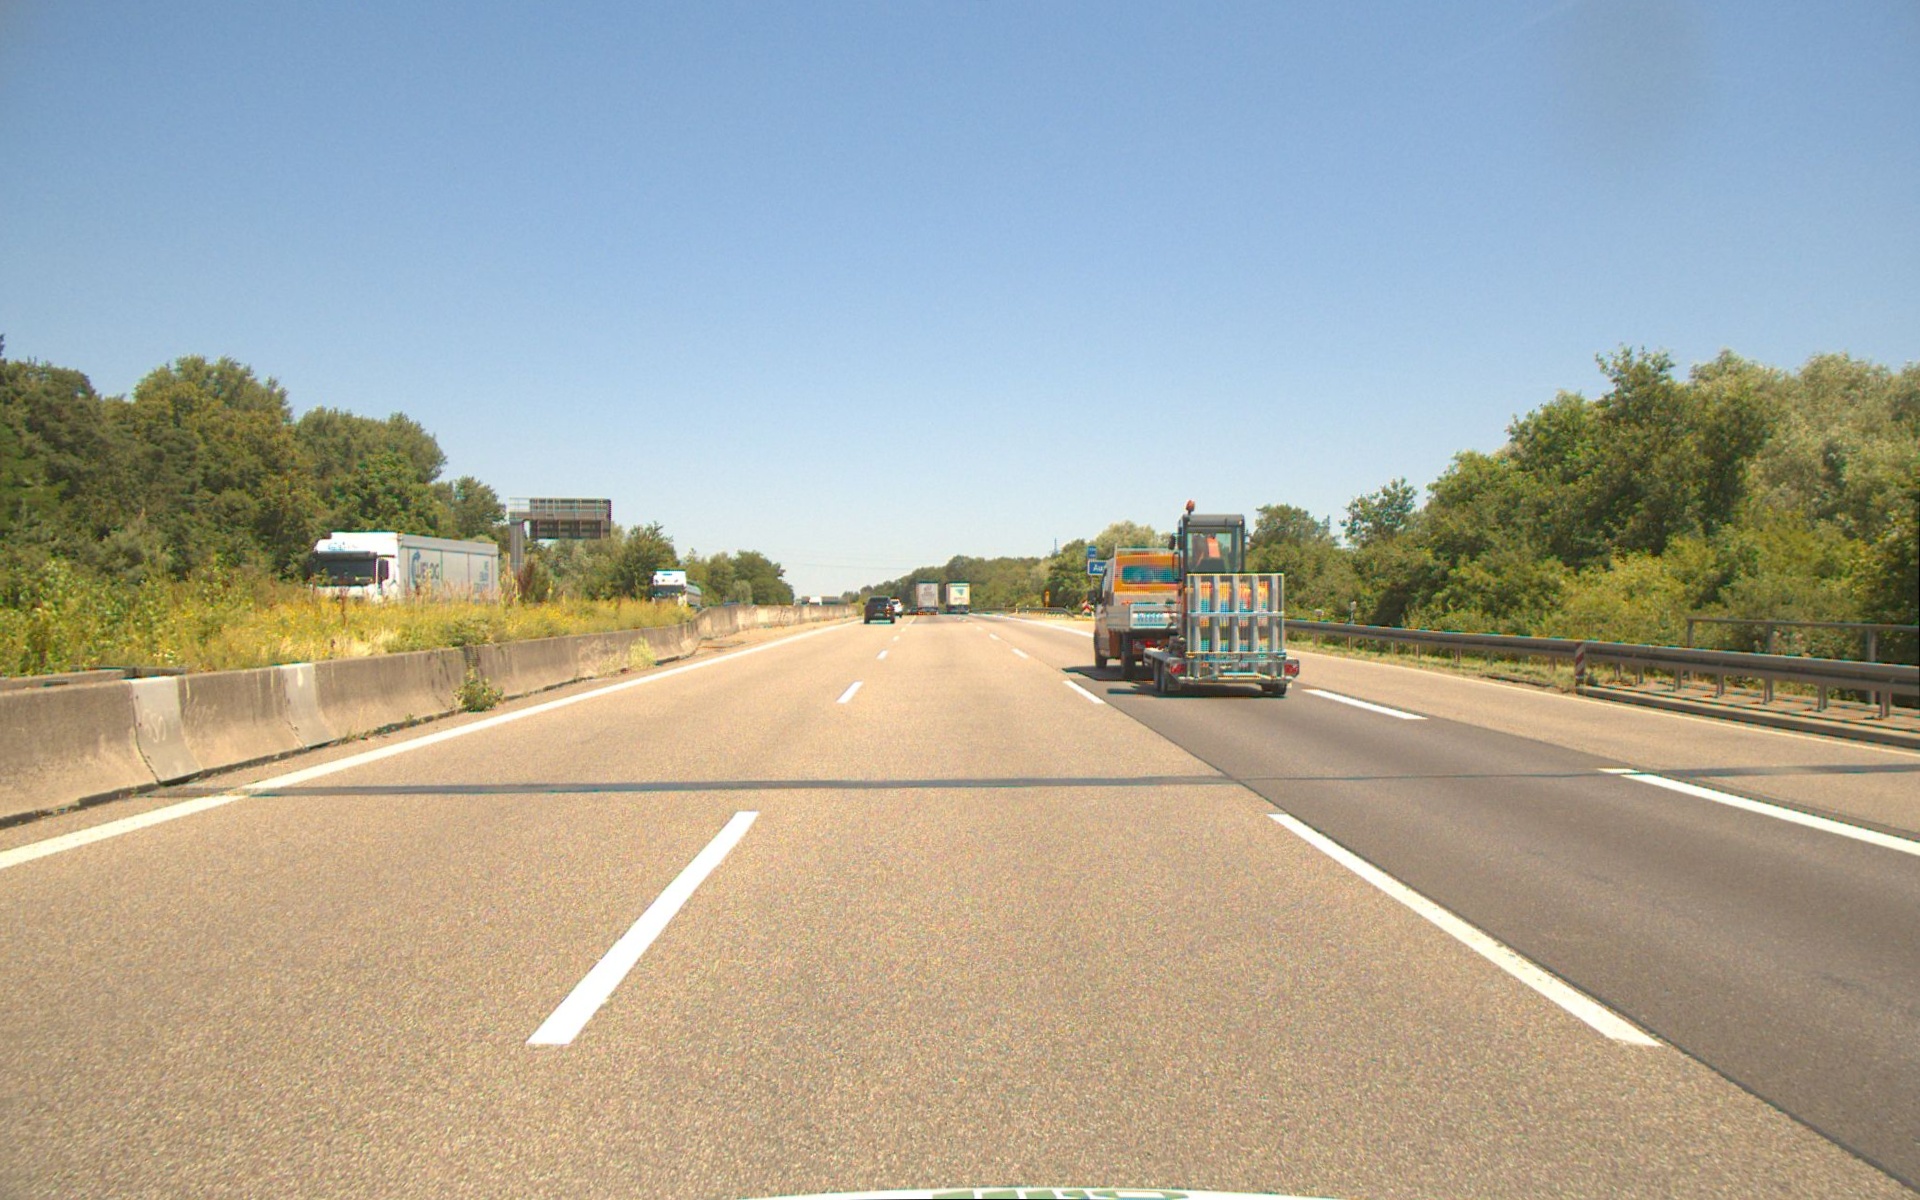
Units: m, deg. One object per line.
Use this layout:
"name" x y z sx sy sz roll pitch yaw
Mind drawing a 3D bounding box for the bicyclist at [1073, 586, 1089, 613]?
"bicyclist" 7.715 -0.032 105.389 0.940 1.623 0.808 2 0 7

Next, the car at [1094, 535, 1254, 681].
"car" 3.909 0.125 31.526 1.953 2.447 7.224 -1 0 -1

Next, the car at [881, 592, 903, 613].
"car" -6.319 0.242 153.672 1.953 1.907 3.999 0 0 -1

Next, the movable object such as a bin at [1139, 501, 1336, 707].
"movable object such as a bin" 4.144 0.048 25.494 2.130 2.865 4.760 -1 0 -1

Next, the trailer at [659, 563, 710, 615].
"trailer" -23.149 -0.913 139.577 2.751 4.118 10.426 2 0 -2

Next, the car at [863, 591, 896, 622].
"car" -5.147 0.400 106.230 1.953 1.907 3.999 -1 0 -1

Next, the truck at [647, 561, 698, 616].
"truck" -22.832 -0.892 131.723 2.751 4.118 7.727 2 0 -2

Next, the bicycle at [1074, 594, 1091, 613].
"bicycle" 7.826 0.211 105.461 0.940 1.177 2.609 2 0 7

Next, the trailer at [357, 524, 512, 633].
"trailer" -21.820 -0.863 69.515 2.924 4.147 11.772 0 0 -1

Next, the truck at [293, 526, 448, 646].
"truck" -21.672 -0.523 61.334 2.924 4.147 8.191 0 0 -1

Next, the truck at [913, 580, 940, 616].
"truck" -4.191 -0.302 204.359 3.164 4.275 8.462 1 0 -2

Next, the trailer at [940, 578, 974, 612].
"trailer" -0.463 -0.635 215.766 3.303 4.215 9.079 2 0 -6
